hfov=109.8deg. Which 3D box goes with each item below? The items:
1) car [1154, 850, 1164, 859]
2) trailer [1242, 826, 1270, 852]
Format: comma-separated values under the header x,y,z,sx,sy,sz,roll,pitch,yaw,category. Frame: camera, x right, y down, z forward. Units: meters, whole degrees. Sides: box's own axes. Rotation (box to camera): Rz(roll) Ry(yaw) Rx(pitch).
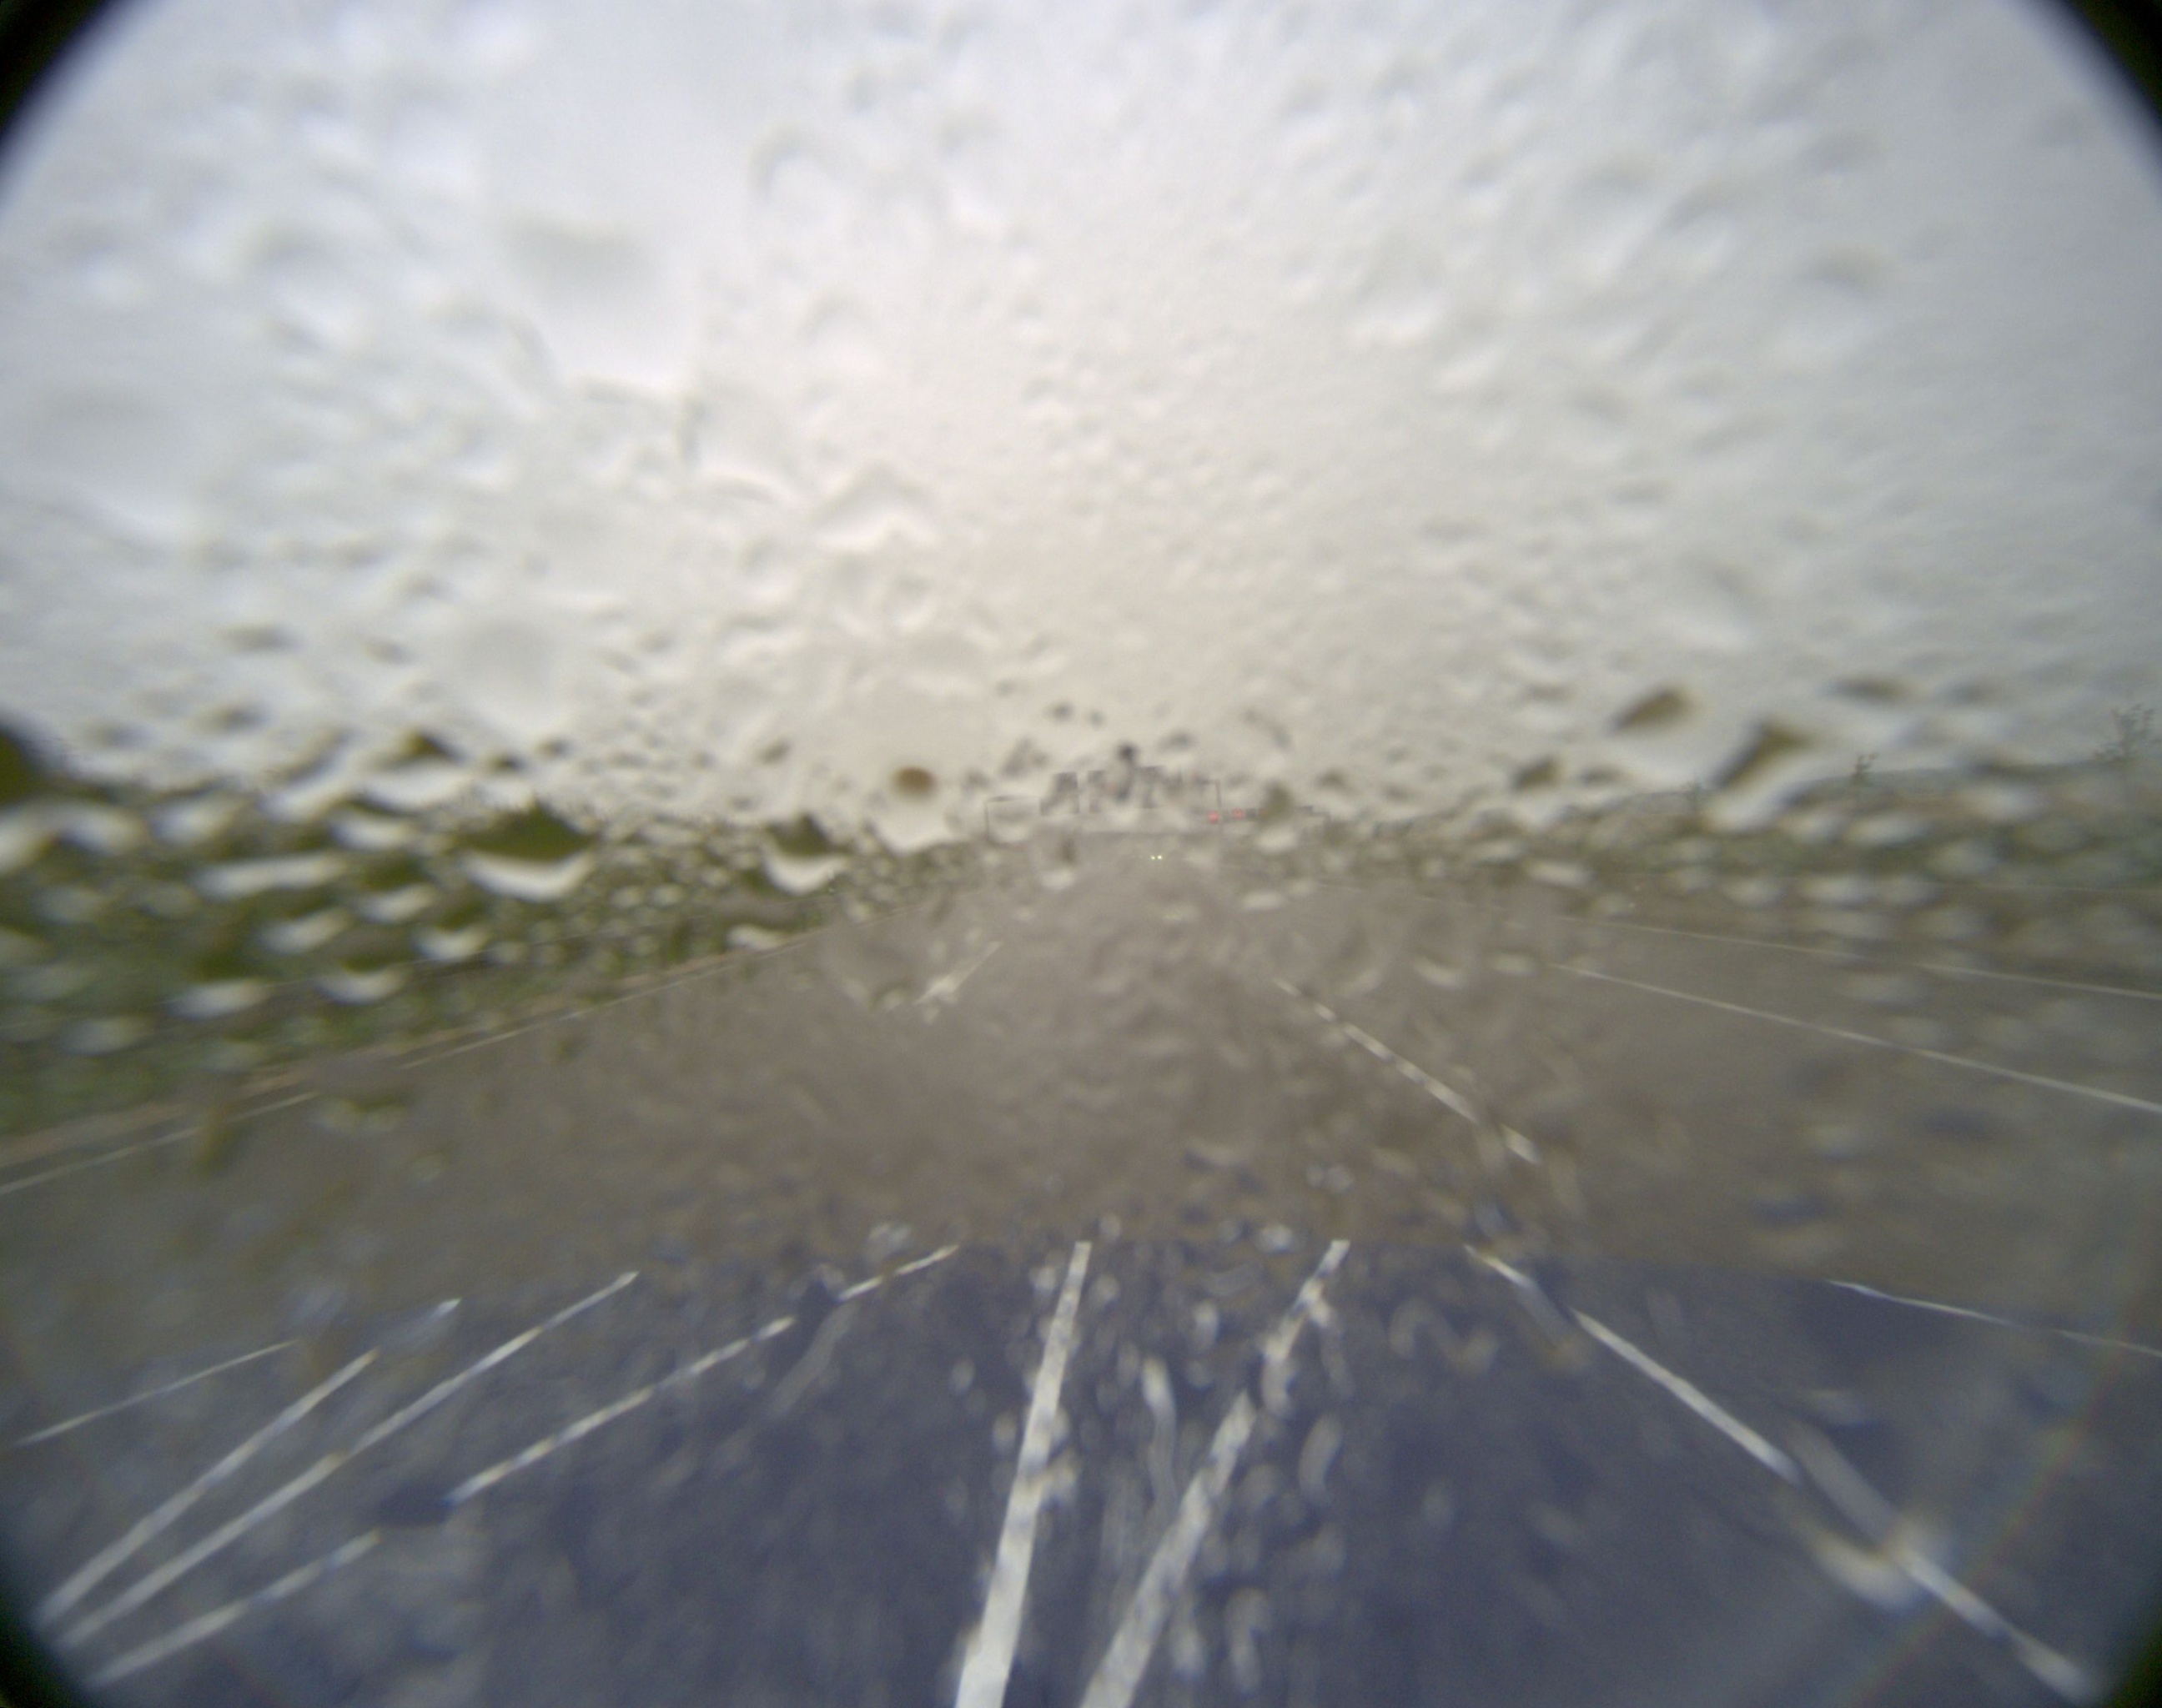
x,y,z,sx,sy,sz,roll,pitch,yaw,category
14.223,0.100,138.333,1.700,1.543,3.734,-3,0,6,car
28.776,-2.384,125.808,1.998,4.016,14.305,-2,0,3,trailer
